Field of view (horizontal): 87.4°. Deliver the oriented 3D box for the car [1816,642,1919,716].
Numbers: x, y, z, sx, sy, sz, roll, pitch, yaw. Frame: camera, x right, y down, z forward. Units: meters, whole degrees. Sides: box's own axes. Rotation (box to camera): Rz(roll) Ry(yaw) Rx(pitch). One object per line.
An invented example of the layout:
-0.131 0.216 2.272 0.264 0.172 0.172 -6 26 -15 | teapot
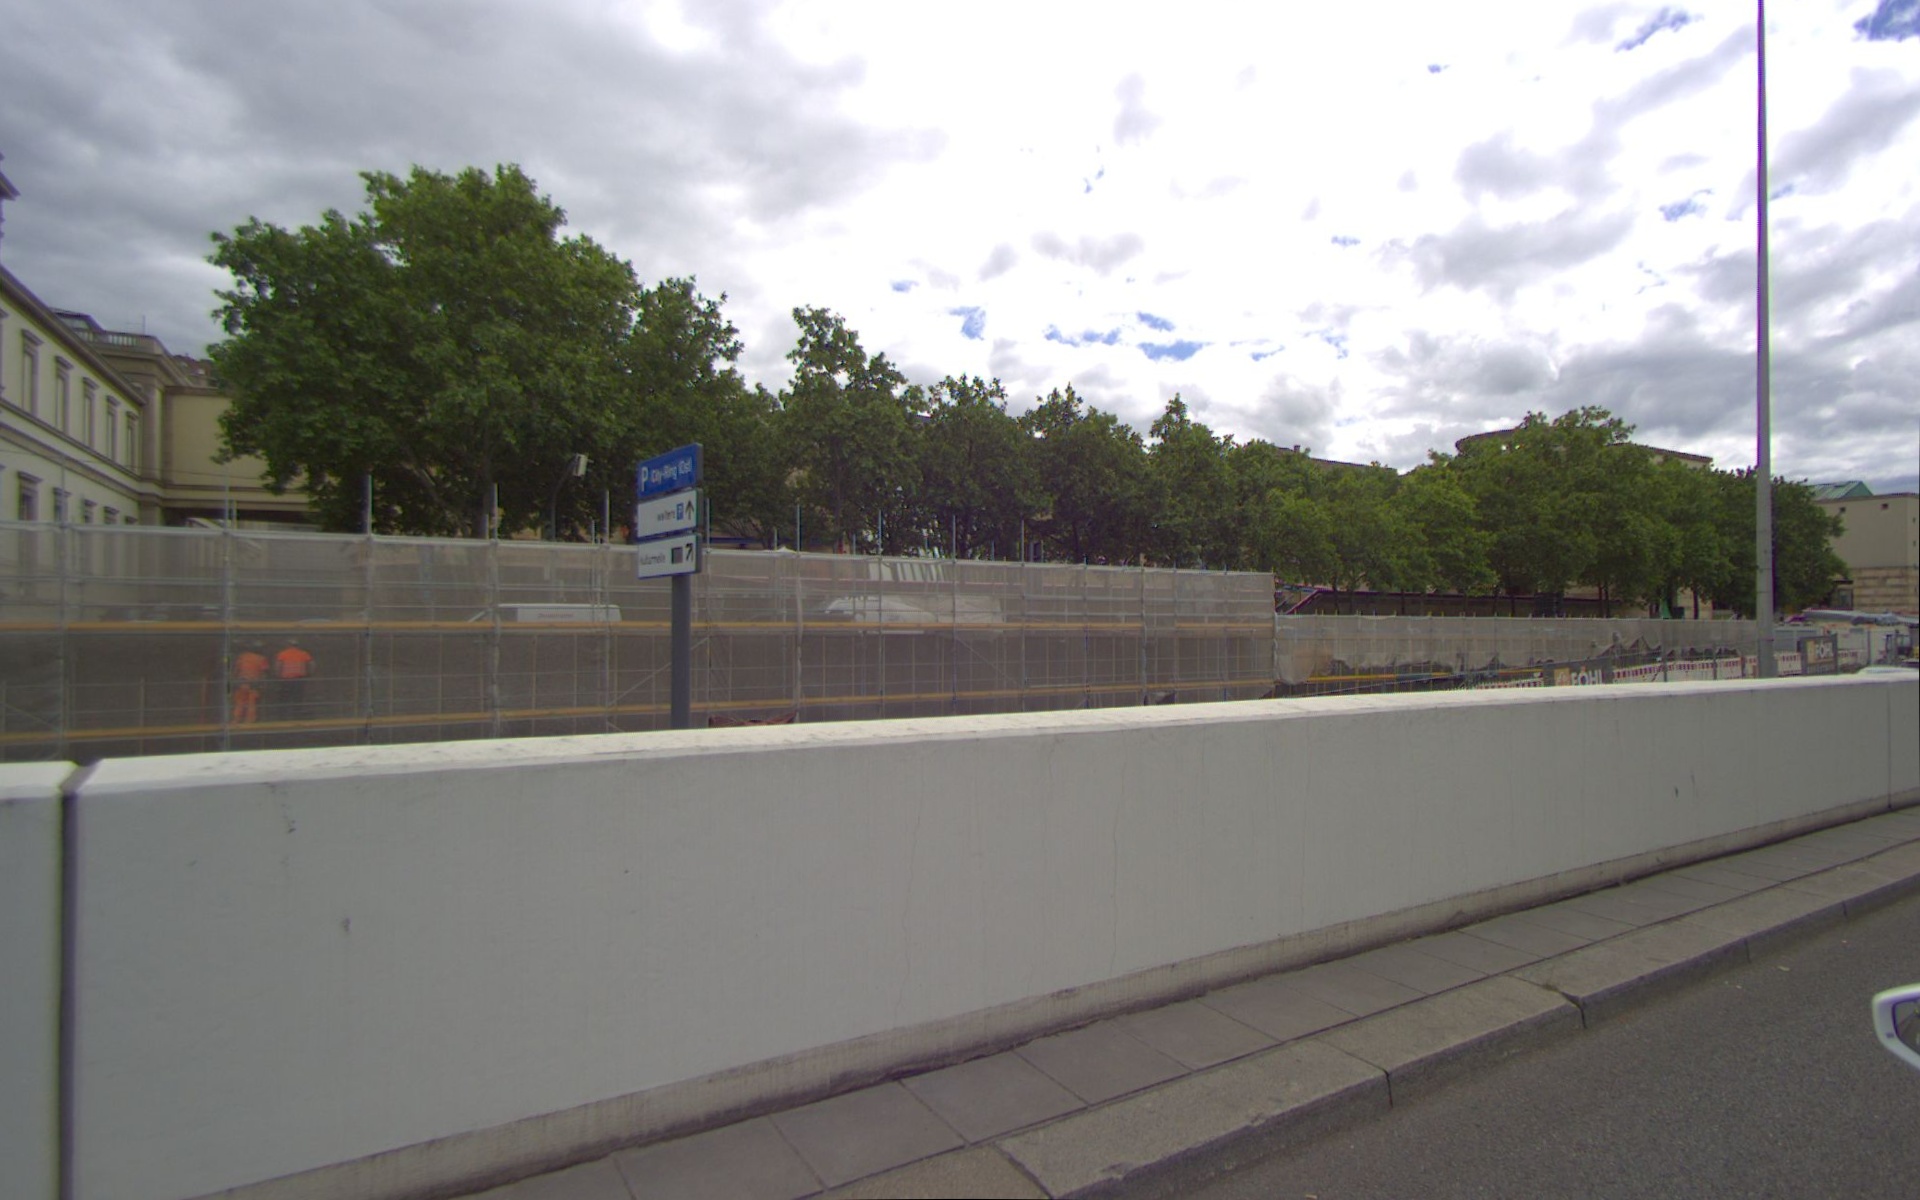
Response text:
28.973 2.407 31.615 3.956 2.040 1.983 -1 -1 -32 | car
